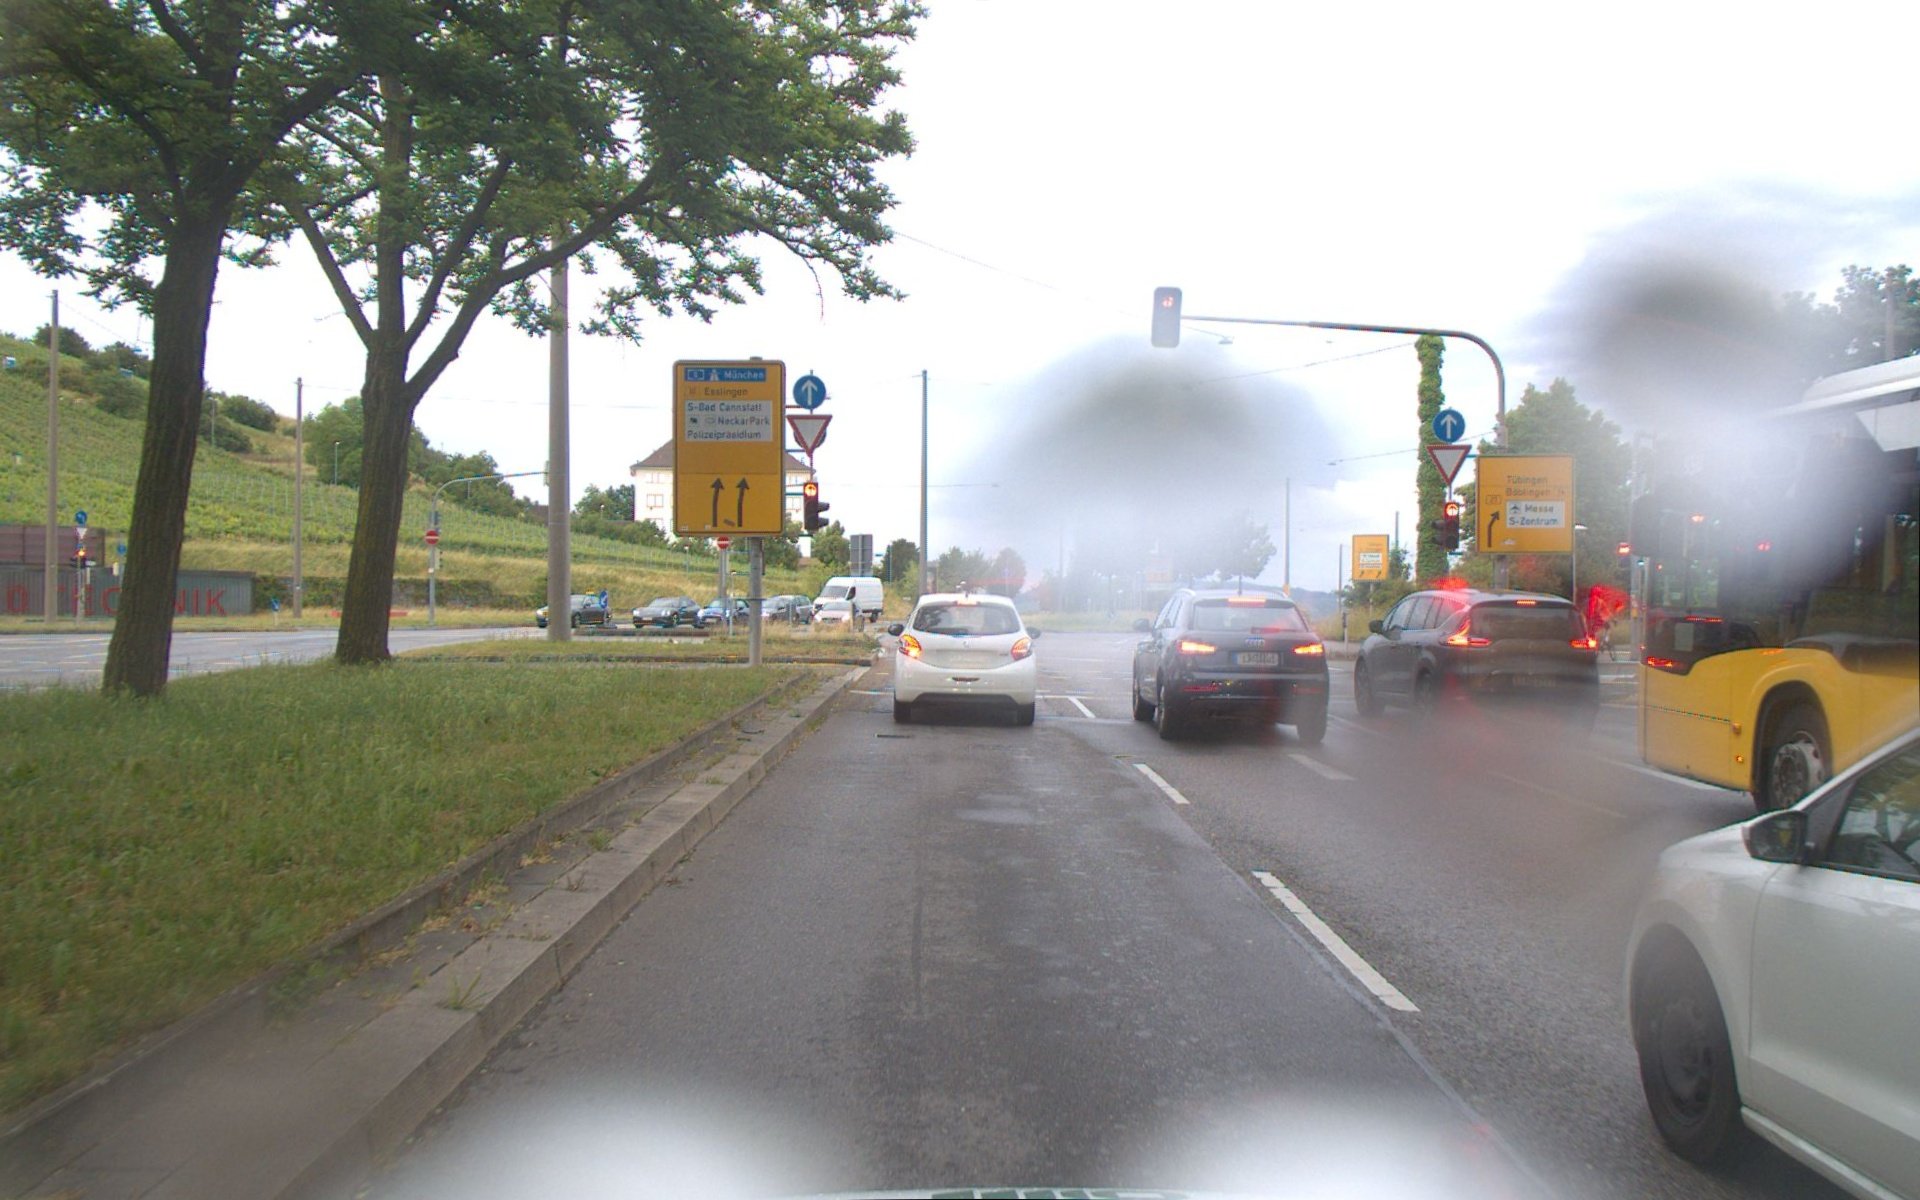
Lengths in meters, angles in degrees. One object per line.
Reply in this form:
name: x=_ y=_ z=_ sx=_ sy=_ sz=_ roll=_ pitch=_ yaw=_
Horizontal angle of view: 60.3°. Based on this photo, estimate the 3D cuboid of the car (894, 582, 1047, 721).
car: x=0.119 y=0.594 z=20.472 sx=1.683 sy=1.515 sz=4.000 roll=1 pitch=0 yaw=0

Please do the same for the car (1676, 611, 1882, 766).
car: x=9.270 y=0.936 z=18.552 sx=1.830 sy=1.524 sz=4.144 roll=-2 pitch=-2 yaw=29

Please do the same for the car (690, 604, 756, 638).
car: x=-10.621 y=0.978 z=74.477 sx=1.748 sy=1.420 sz=3.885 roll=2 pitch=-1 yaw=10

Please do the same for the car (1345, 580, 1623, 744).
car: x=6.134 y=0.639 z=19.963 sx=1.827 sy=1.703 sz=4.565 roll=1 pitch=1 yaw=-1

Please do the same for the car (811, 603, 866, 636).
car: x=-5.496 y=0.893 z=75.339 sx=1.738 sy=1.450 sz=4.376 roll=0 pitch=-1 yaw=6

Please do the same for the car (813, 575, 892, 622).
car: x=-6.325 y=-0.048 z=98.357 sx=1.954 sy=2.604 sz=6.165 roll=2 pitch=-1 yaw=25

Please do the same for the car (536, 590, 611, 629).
car: x=-17.454 y=0.460 z=74.900 sx=1.790 sy=1.652 sz=4.569 roll=2 pitch=-1 yaw=6

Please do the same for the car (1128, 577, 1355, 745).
car: x=3.072 y=0.638 z=18.885 sx=1.846 sy=1.623 sz=4.113 roll=2 pitch=-1 yaw=0

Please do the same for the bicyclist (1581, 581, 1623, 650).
bicyclist: x=15.439 y=0.384 z=39.749 sx=0.793 sy=1.611 sz=1.021 roll=2 pitch=-1 yaw=27

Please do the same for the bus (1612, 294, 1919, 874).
bus: x=6.618 y=-0.037 z=7.329 sx=2.671 sy=3.207 sz=12.146 roll=2 pitch=1 yaw=1

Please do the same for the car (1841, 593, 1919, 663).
car: x=23.475 y=0.707 z=39.704 sx=3.968 sy=1.596 sz=1.870 roll=1 pitch=-2 yaw=24

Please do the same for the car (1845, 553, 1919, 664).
car: x=25.843 y=0.271 z=41.961 sx=5.893 sy=2.789 sz=2.079 roll=1 pitch=-2 yaw=27

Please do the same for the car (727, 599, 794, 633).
car: x=-9.640 y=0.797 z=80.378 sx=1.861 sy=1.515 sz=4.896 roll=2 pitch=-1 yaw=10

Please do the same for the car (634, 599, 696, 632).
car: x=-13.615 y=0.742 z=76.518 sx=1.748 sy=1.420 sz=3.884 roll=2 pitch=-1 yaw=6

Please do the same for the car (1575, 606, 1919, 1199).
car: x=2.878 y=0.777 z=3.395 sx=1.705 sy=1.457 sz=3.810 roll=2 pitch=-1 yaw=-1
